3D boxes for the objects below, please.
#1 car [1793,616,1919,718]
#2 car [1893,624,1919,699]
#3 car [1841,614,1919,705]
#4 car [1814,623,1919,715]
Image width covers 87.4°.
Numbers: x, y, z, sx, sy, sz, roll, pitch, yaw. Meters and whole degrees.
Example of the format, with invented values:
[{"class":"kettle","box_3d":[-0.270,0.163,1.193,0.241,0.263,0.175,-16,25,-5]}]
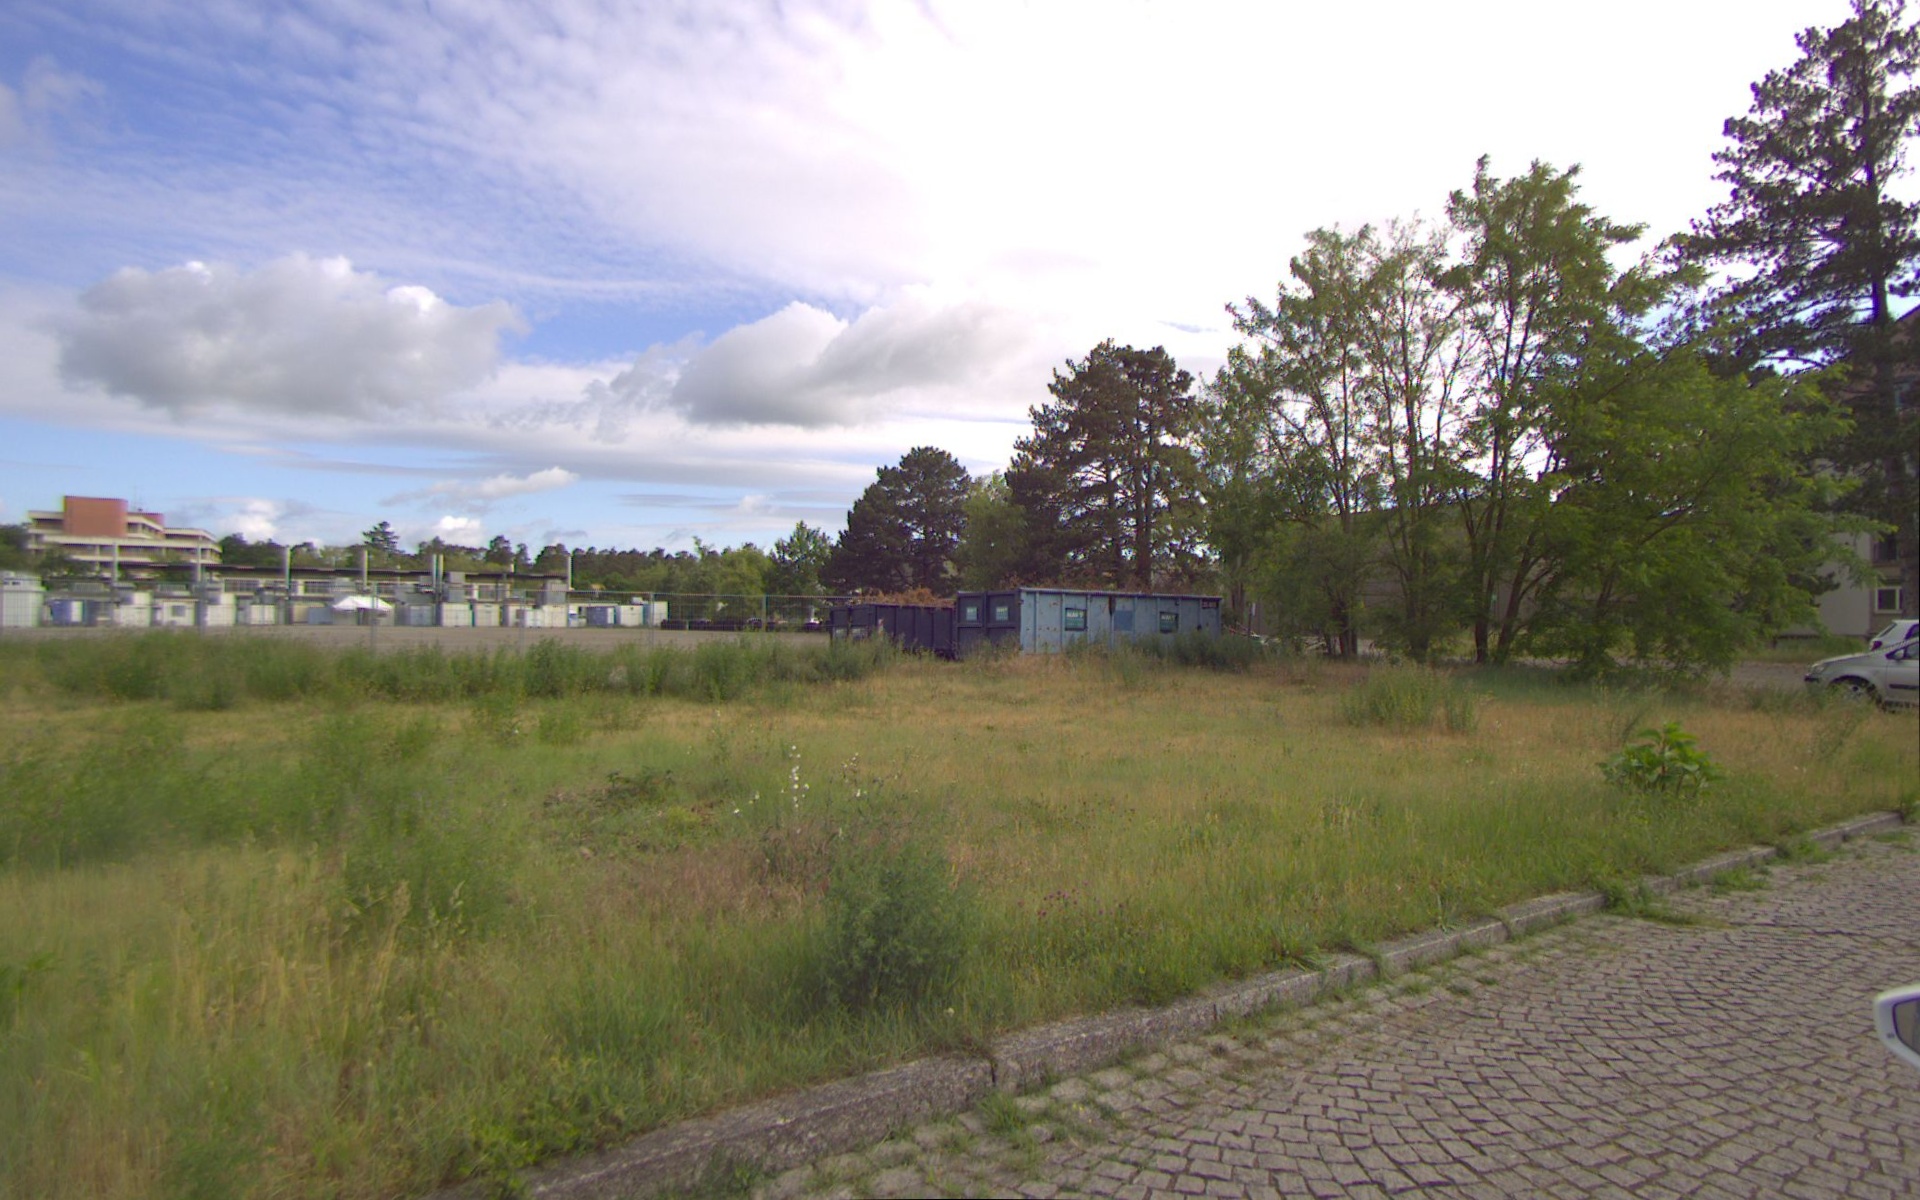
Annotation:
[{"class":"car","box_3d":[15.572,1.080,15.618,1.656,1.501,3.696,1,1,-34]},{"class":"car","box_3d":[21.860,1.253,20.227,1.795,1.574,4.266,1,-2,-37]},{"class":"car","box_3d":[19.722,1.128,19.075,1.637,1.755,4.267,1,-2,-37]},{"class":"car","box_3d":[17.612,1.175,17.204,1.795,1.574,4.266,1,-2,-37]}]
